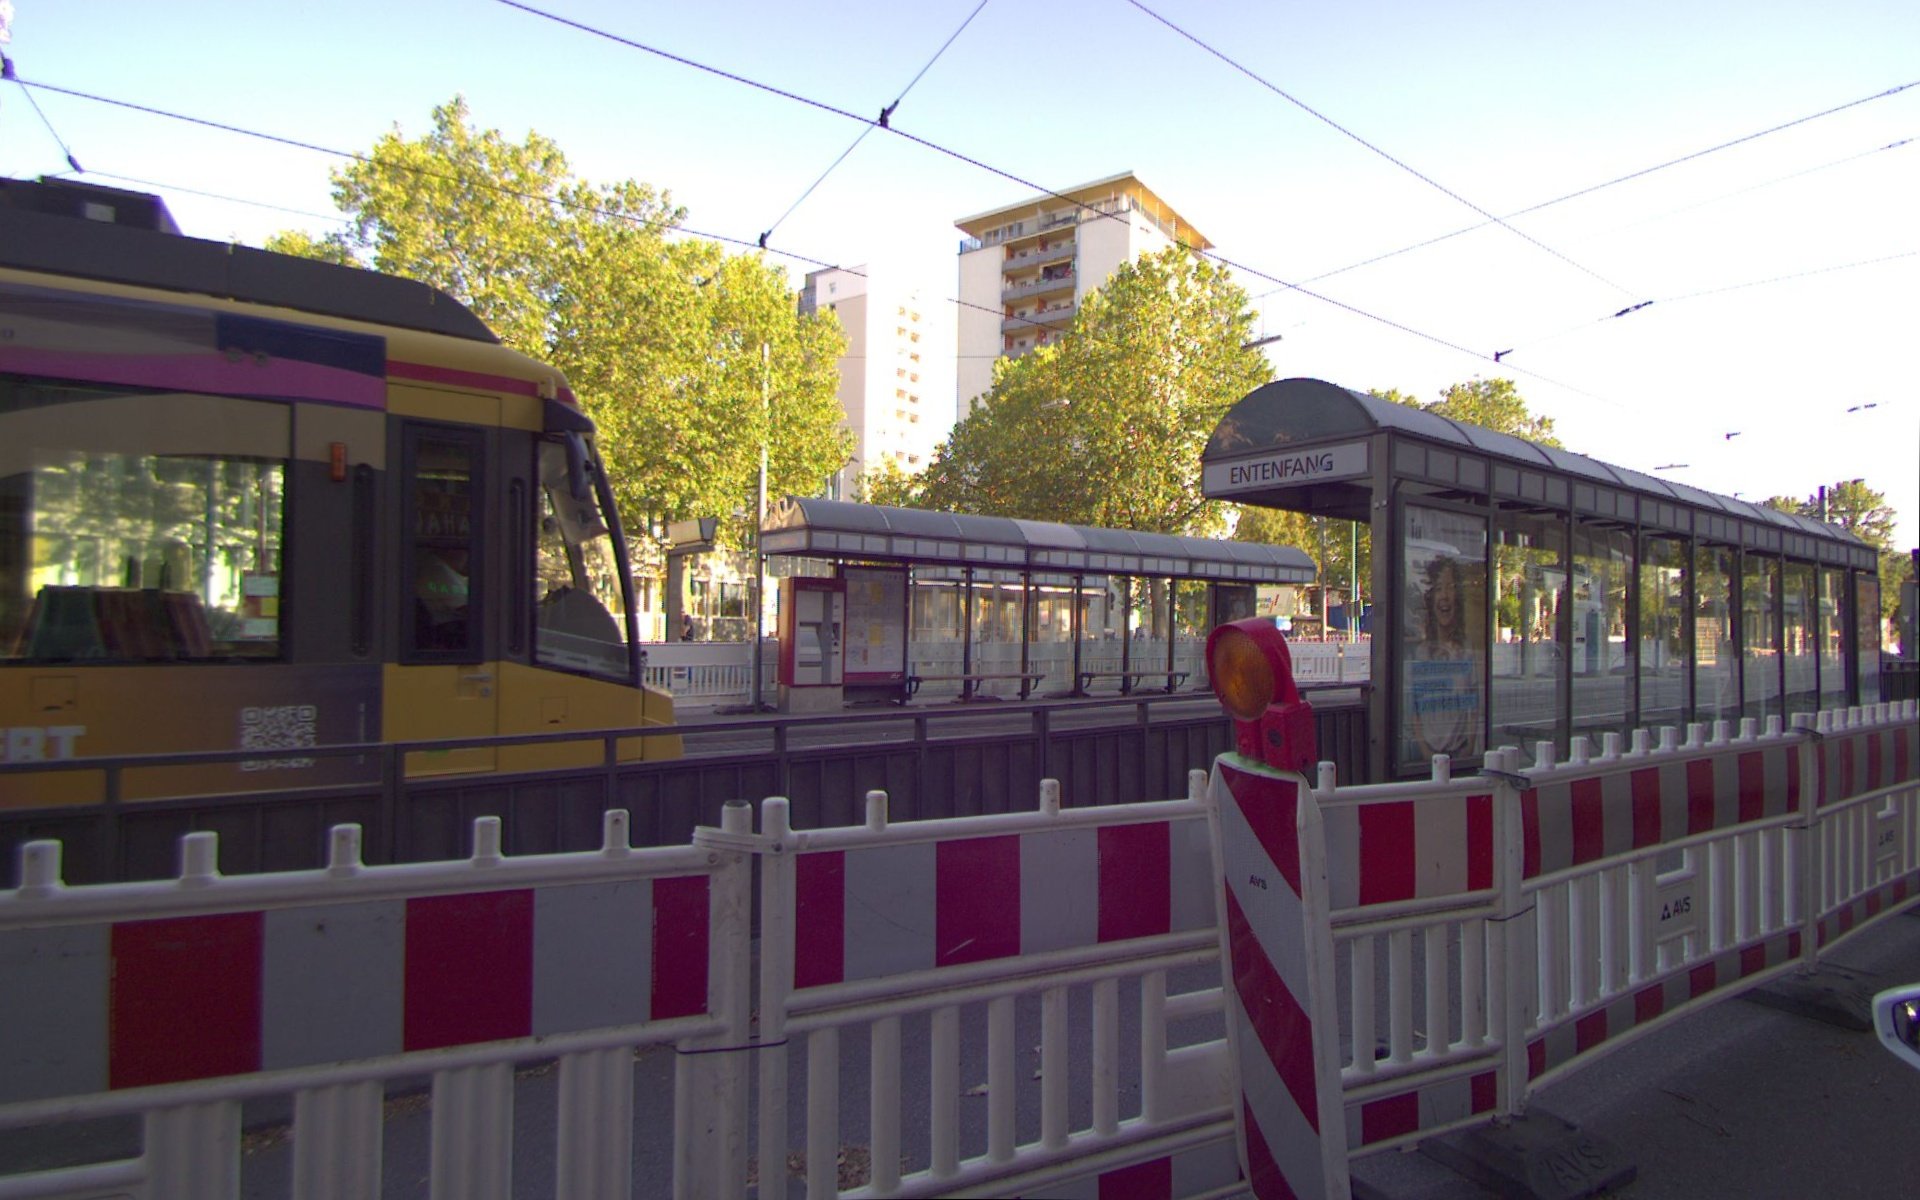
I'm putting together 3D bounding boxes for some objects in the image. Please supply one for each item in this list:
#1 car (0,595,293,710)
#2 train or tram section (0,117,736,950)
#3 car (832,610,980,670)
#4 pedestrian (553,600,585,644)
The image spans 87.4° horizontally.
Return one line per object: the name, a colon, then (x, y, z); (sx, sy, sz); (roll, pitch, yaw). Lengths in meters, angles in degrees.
car: (-13.806, 0.819, 16.597); (4.544, 1.689, 1.881); (2, 0, -37)
train or tram section: (-6.436, -0.321, 4.511); (10.216, 3.533, 2.803); (2, -1, -30)
car: (-1.435, 1.070, 27.280); (3.740, 1.532, 1.646); (2, -2, -38)
pedestrian: (-15.835, 0.884, 40.670); (0.794, 1.751, 0.883); (0, -1, 31)
